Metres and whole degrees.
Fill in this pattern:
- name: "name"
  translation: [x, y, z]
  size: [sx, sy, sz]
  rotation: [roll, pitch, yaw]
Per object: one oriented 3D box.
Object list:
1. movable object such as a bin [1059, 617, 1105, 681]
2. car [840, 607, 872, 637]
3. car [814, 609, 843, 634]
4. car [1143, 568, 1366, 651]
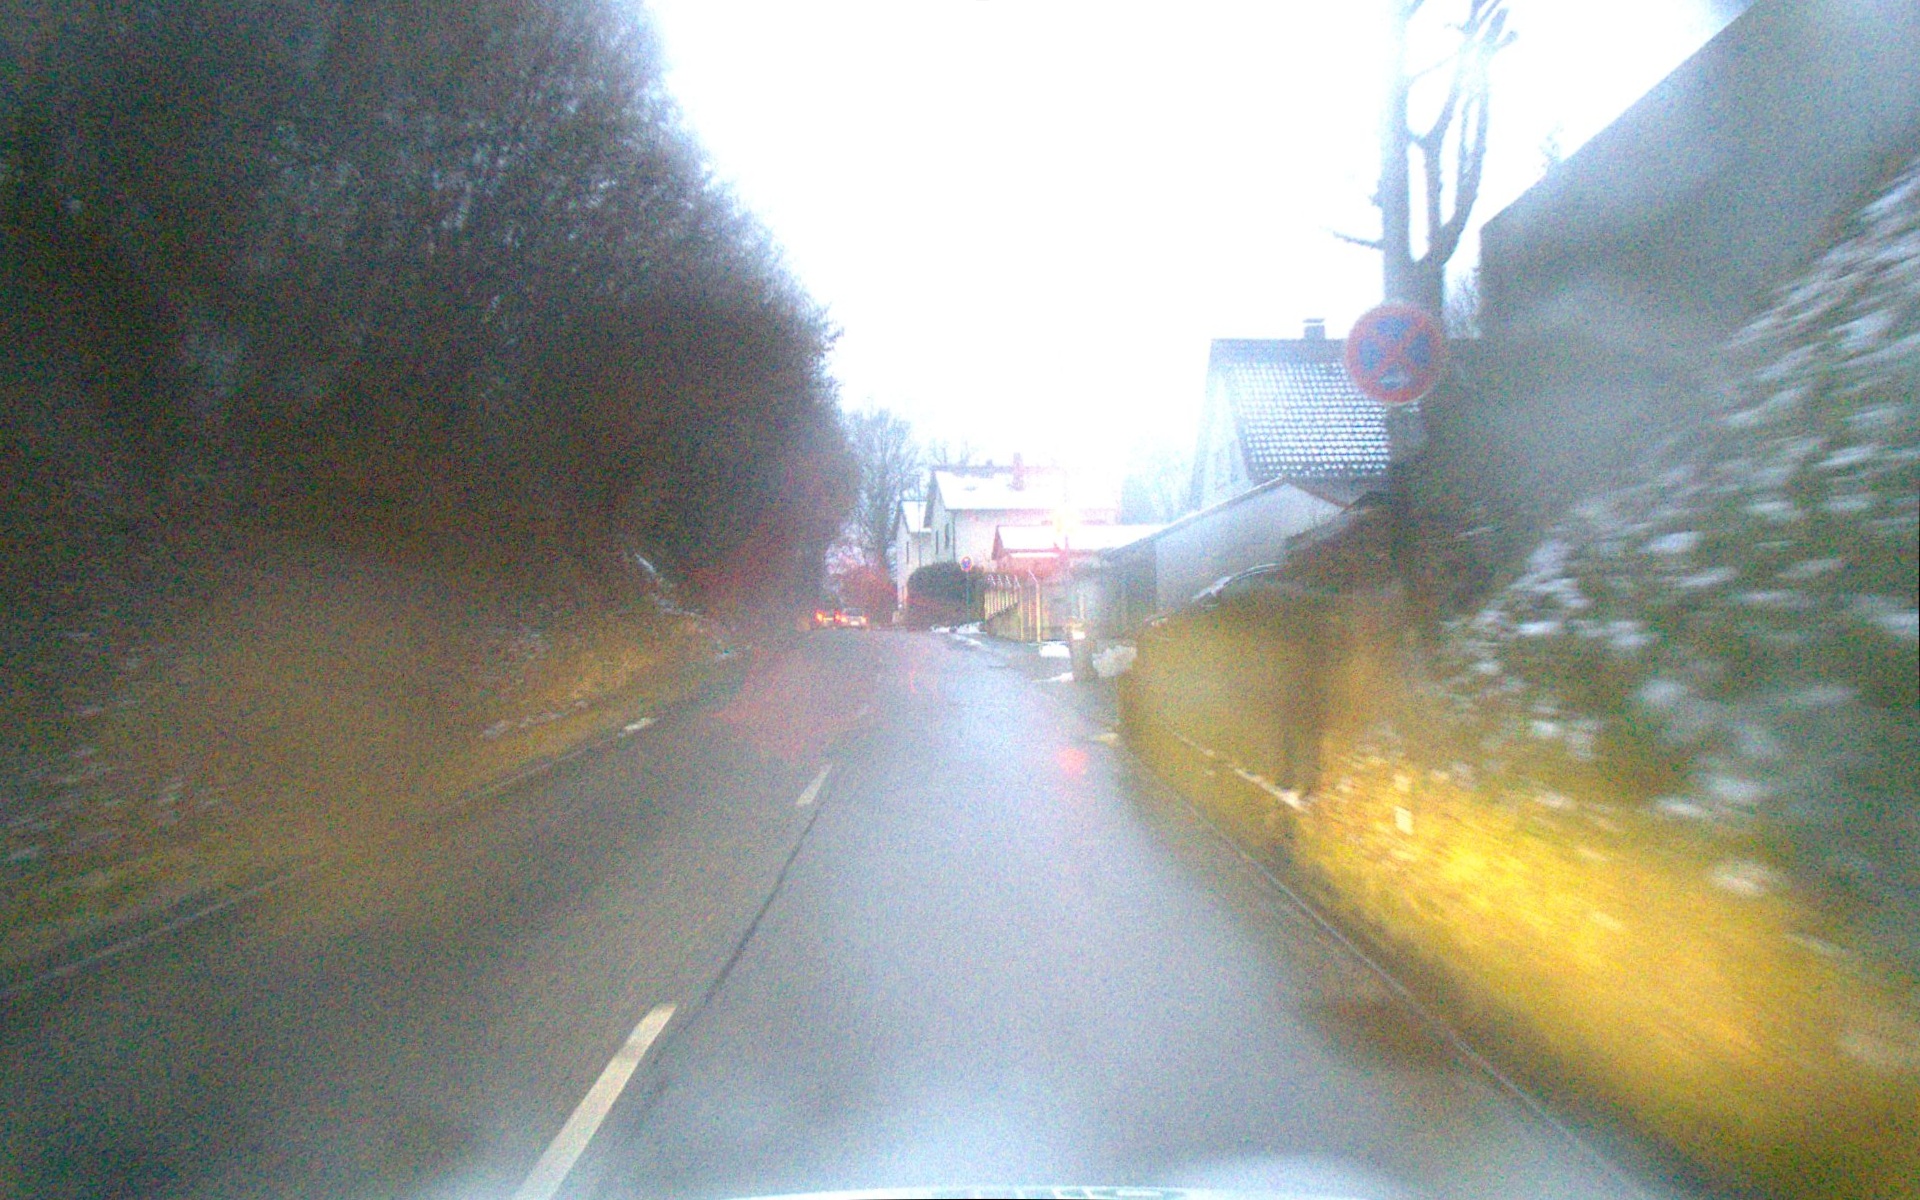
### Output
- name: "movable object such as a bin"
  translation: [2.028, 0.816, 27.440]
  size: [0.671, 1.021, 0.857]
  rotation: [-3, -3, 7]
- name: "car"
  translation: [-6.588, 1.398, 105.143]
  size: [1.768, 1.769, 3.998]
  rotation: [2, -2, -1]
- name: "car"
  translation: [-9.362, 1.520, 117.884]
  size: [1.768, 1.646, 3.998]
  rotation: [2, -2, -1]
- name: "car"
  translation: [5.517, 0.204, 31.348]
  size: [3.904, 1.288, 1.696]
  rotation: [-3, -2, 2]
